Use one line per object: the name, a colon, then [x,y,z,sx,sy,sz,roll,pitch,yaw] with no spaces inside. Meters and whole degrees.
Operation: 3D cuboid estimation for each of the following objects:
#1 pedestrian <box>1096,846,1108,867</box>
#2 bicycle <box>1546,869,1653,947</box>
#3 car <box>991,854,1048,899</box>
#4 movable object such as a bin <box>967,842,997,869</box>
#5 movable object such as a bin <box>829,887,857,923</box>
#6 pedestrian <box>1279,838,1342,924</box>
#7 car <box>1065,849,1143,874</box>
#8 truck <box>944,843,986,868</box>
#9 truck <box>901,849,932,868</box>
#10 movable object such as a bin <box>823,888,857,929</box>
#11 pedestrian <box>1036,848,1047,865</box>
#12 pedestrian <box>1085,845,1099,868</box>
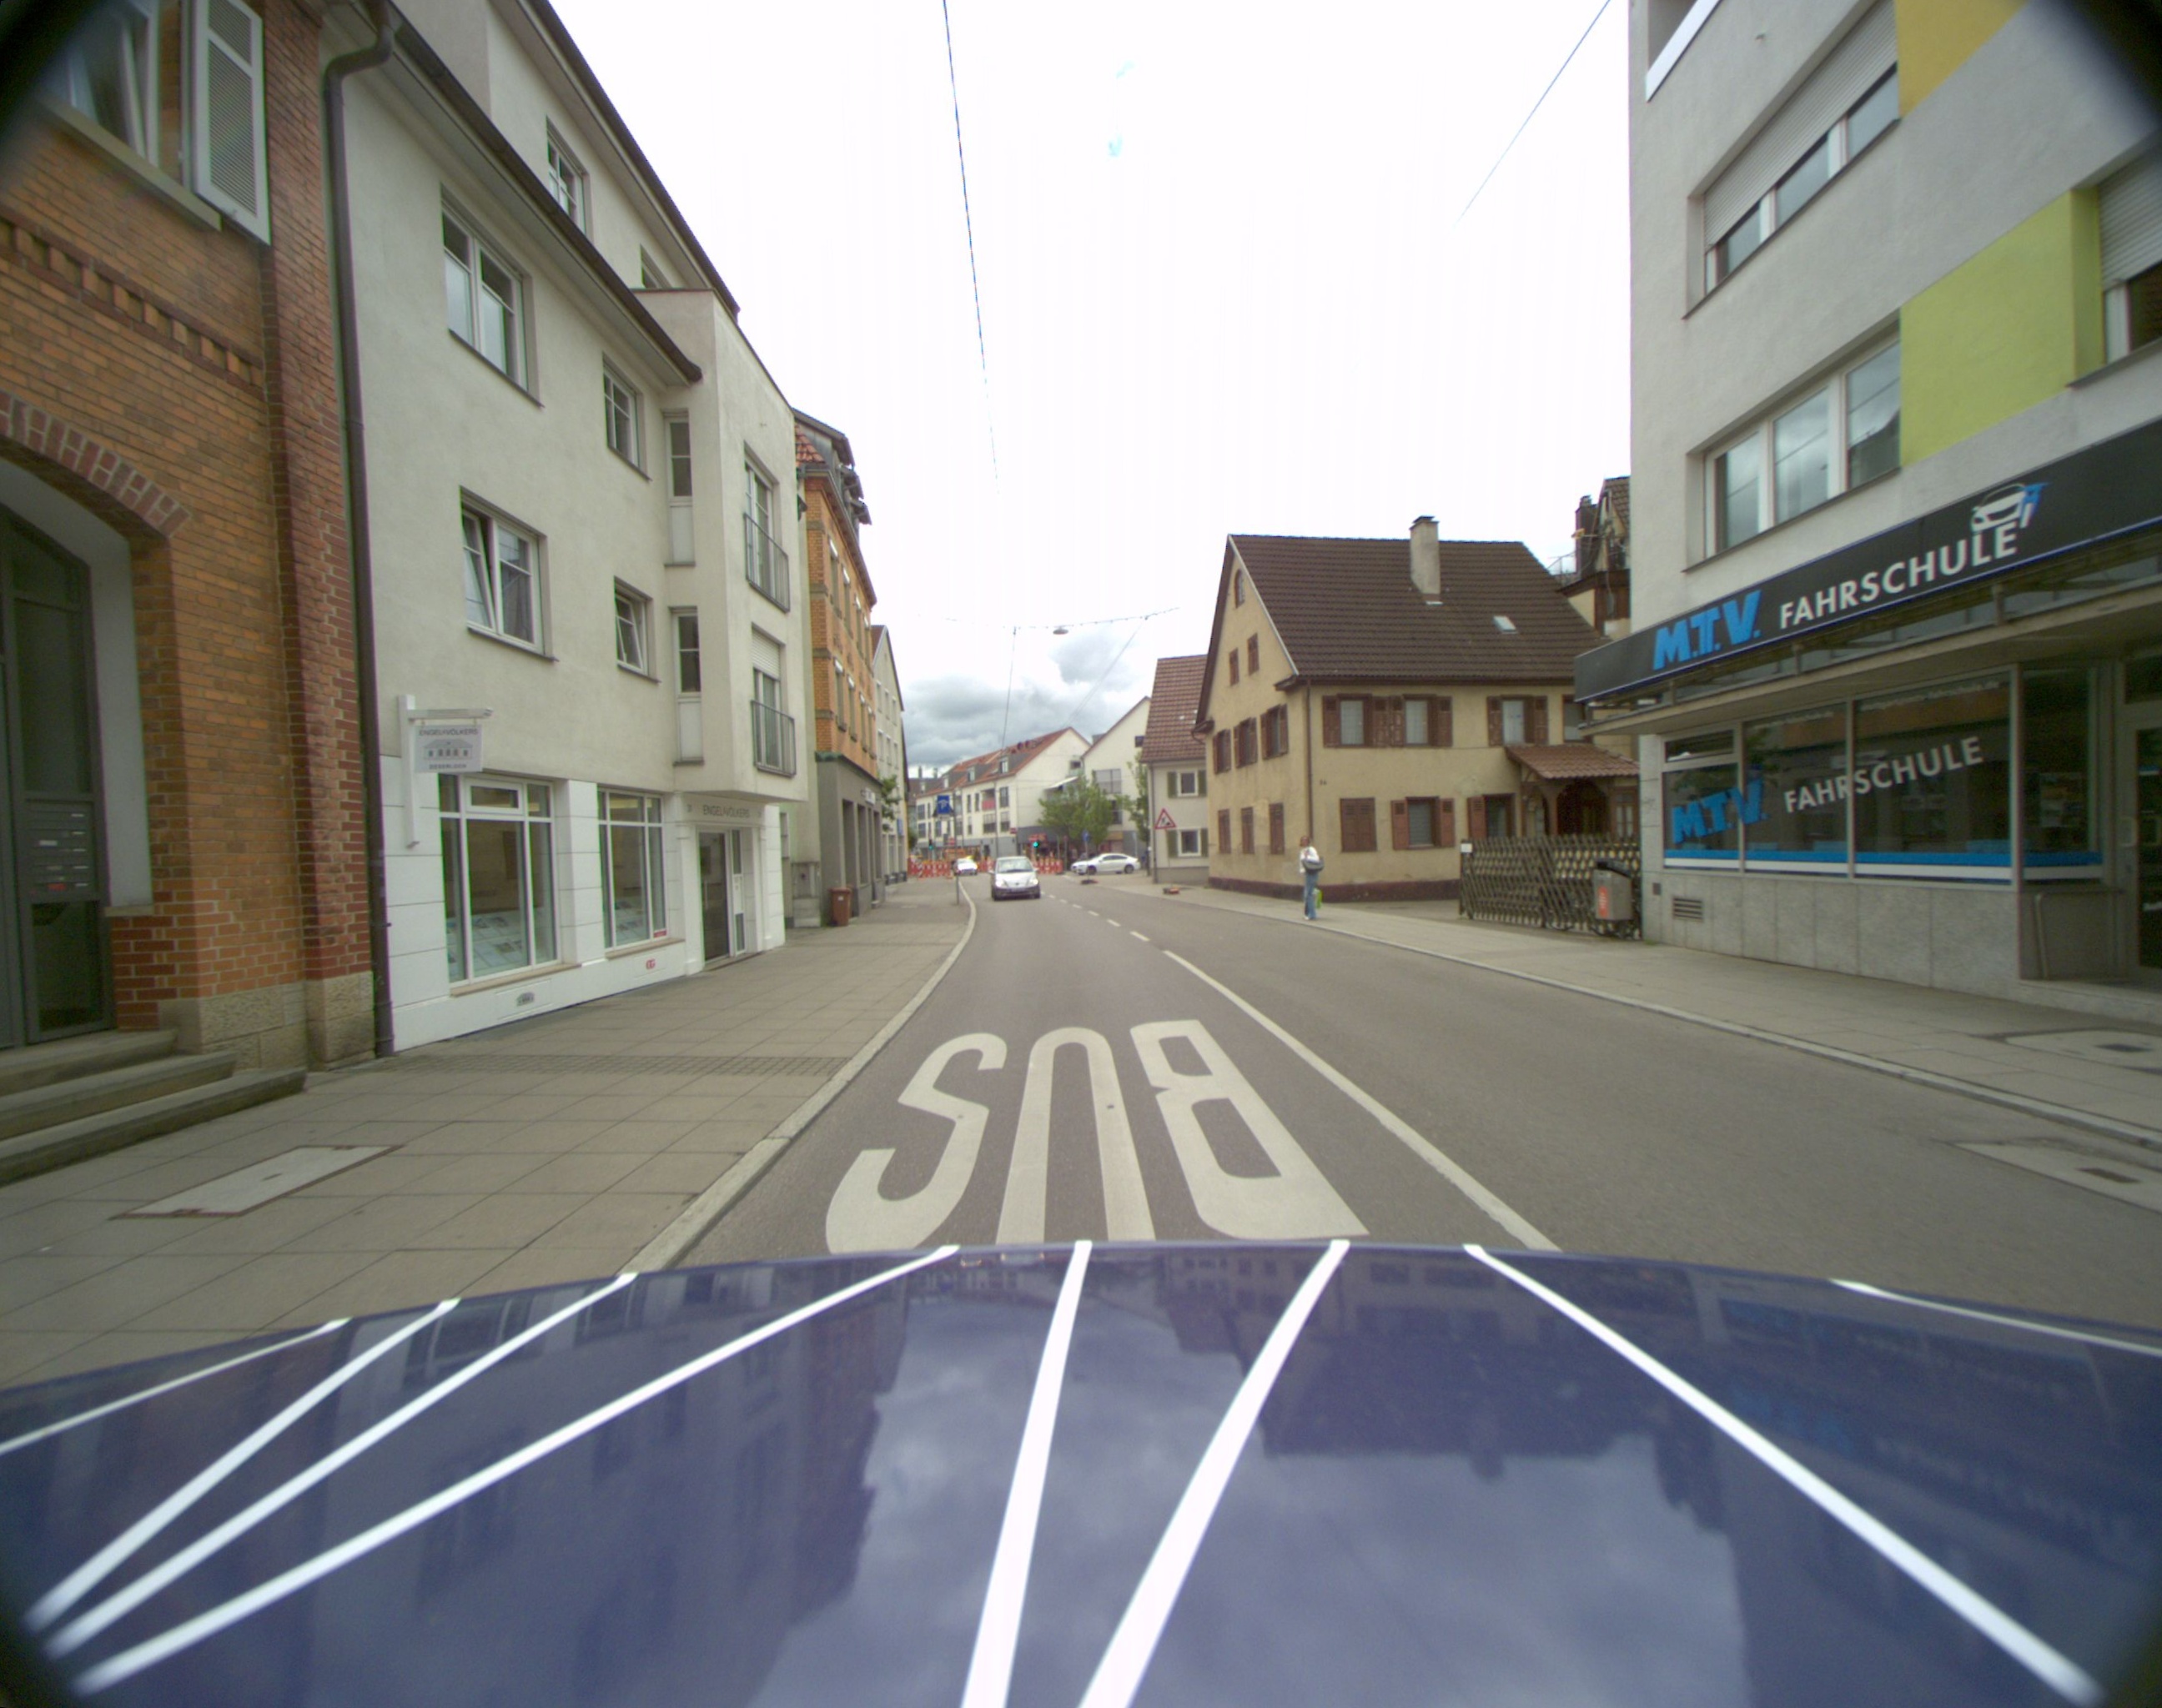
pedestrian: [1.840,0.206,67.409,0.695,1.780,0.716,-3,1,-43]
bicycle: [7.879,0.785,11.631,0.324,1.047,1.748,-2,0,-4]
car: [-2.457,0.846,29.389,1.859,1.547,4.349,-1,-1,-9]
movable object such as a bin: [-10.578,0.173,80.675,1.847,2.748,4.496,-2,1,-24]
movable object such as a bin: [-6.481,1.380,20.718,0.581,0.928,0.739,-2,1,-6]
pedestrian: [4.649,0.532,15.440,0.895,1.655,0.860,-2,1,-11]
car: [1.633,0.534,53.125,4.924,1.468,2.245,-3,1,-23]
truck: [-13.490,0.208,87.886,2.744,2.709,6.834,-2,0,-26]
truck: [-22.807,0.589,105.104,2.425,2.451,6.294,-1,-1,-30]
movable object such as a bin: [-5.776,1.300,18.236,0.621,0.916,0.581,-2,1,-4]
pedestrian: [-3.856,0.249,73.874,0.835,1.702,0.814,-2,1,-20]
pedestrian: [0.956,0.218,66.351,0.782,1.914,0.818,-1,1,42]
